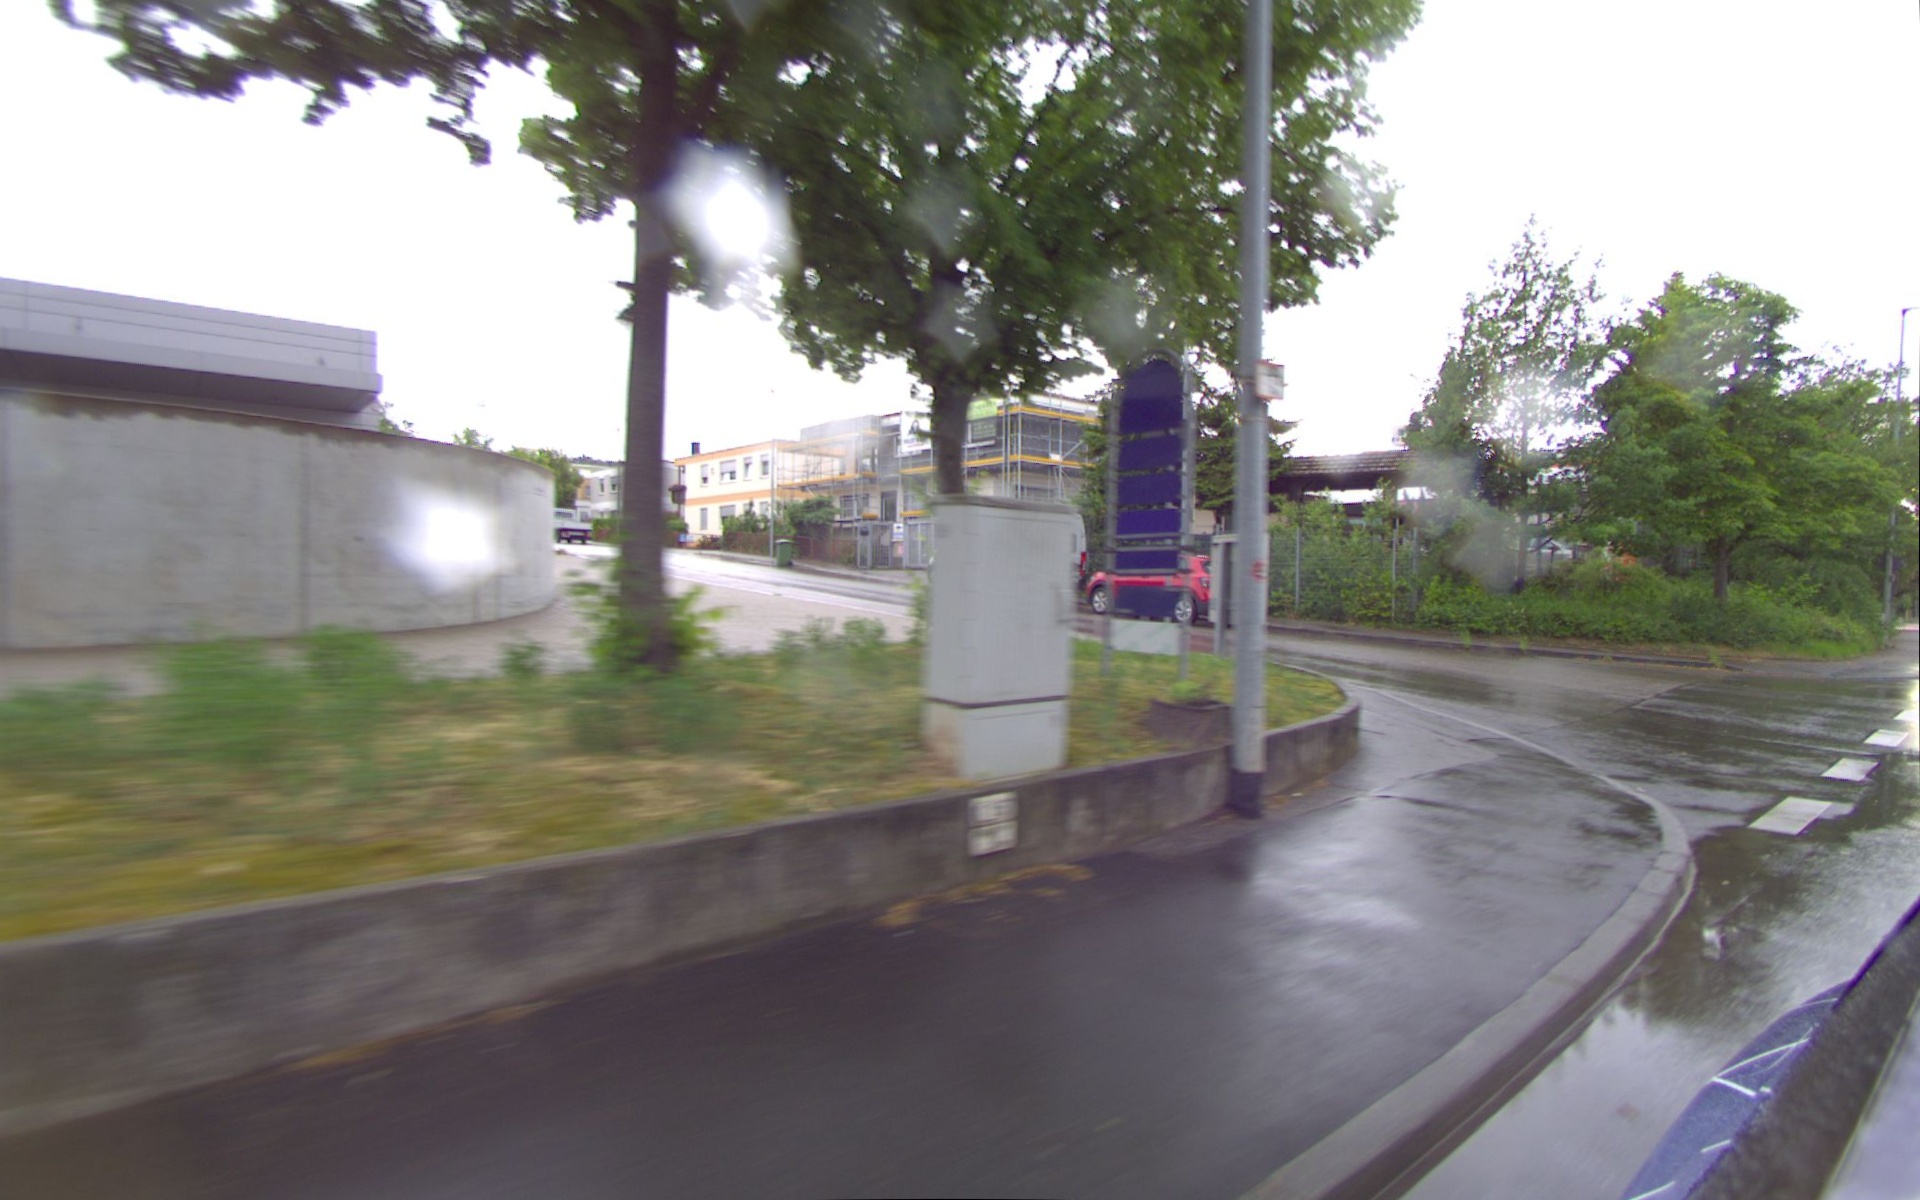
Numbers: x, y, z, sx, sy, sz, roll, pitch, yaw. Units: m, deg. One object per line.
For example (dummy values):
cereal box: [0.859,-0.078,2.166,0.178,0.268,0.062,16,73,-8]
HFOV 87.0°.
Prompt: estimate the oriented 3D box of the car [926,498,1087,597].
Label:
car: [1.185,-1.400,28.267,1.961,2.468,4.922,1,1,-33]

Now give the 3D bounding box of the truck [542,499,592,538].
truck: [-27.774,-5.706,71.397,2.128,2.267,5.885,1,0,-33]

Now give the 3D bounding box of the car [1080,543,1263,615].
car: [4.832,-0.502,23.514,1.737,1.517,3.888,1,1,-40]
